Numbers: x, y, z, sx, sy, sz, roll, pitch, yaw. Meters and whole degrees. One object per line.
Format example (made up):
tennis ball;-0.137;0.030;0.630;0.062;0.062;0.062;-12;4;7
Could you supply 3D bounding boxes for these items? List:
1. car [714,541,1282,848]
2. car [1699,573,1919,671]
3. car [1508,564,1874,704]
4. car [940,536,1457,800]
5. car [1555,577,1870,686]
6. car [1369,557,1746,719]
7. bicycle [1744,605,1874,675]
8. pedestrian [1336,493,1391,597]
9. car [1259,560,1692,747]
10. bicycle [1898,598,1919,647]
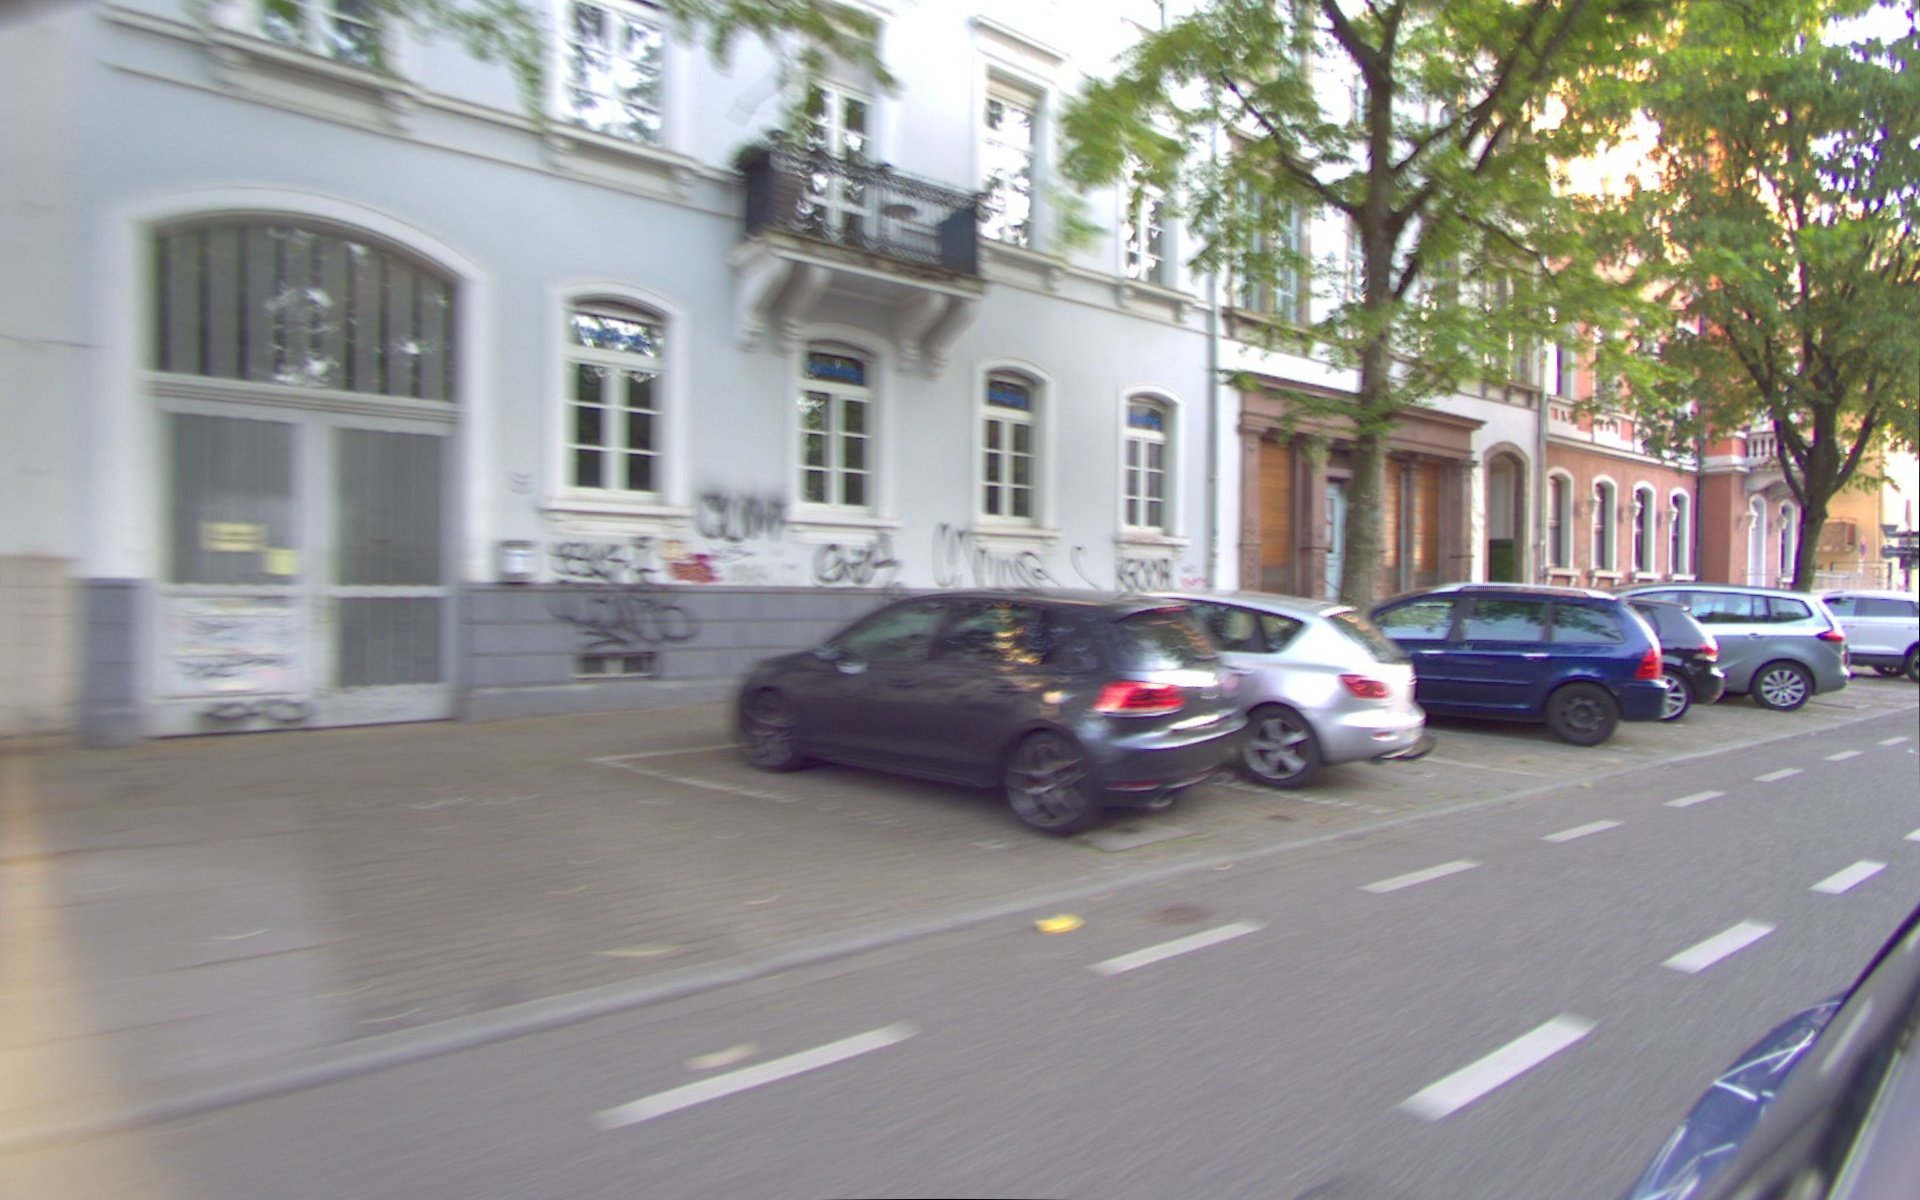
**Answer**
car;0.112;0.442;7.547;3.939;1.623;1.814;4;3;40
car;16.782;0.396;19.372;3.914;1.647;1.660;3;1;25
car;10.419;0.390;14.833;3.910;1.689;1.888;3;3;23
car;1.955;0.385;8.840;3.935;1.622;1.816;6;4;37
car;12.426;0.458;17.068;3.916;1.495;1.814;3;1;27
car;7.575;0.377;13.293;3.915;1.622;1.732;5;3;25
bicycle;15.035;0.690;17.965;1.657;1.088;0.458;4;2;32
pedestrian;6.472;-0.860;16.232;0.612;1.630;0.588;1;-1;-35
car;5.508;0.454;11.311;3.912;1.623;1.826;4;3;24
bicycle;26.169;0.608;26.744;1.895;1.282;0.597;1;0;21
